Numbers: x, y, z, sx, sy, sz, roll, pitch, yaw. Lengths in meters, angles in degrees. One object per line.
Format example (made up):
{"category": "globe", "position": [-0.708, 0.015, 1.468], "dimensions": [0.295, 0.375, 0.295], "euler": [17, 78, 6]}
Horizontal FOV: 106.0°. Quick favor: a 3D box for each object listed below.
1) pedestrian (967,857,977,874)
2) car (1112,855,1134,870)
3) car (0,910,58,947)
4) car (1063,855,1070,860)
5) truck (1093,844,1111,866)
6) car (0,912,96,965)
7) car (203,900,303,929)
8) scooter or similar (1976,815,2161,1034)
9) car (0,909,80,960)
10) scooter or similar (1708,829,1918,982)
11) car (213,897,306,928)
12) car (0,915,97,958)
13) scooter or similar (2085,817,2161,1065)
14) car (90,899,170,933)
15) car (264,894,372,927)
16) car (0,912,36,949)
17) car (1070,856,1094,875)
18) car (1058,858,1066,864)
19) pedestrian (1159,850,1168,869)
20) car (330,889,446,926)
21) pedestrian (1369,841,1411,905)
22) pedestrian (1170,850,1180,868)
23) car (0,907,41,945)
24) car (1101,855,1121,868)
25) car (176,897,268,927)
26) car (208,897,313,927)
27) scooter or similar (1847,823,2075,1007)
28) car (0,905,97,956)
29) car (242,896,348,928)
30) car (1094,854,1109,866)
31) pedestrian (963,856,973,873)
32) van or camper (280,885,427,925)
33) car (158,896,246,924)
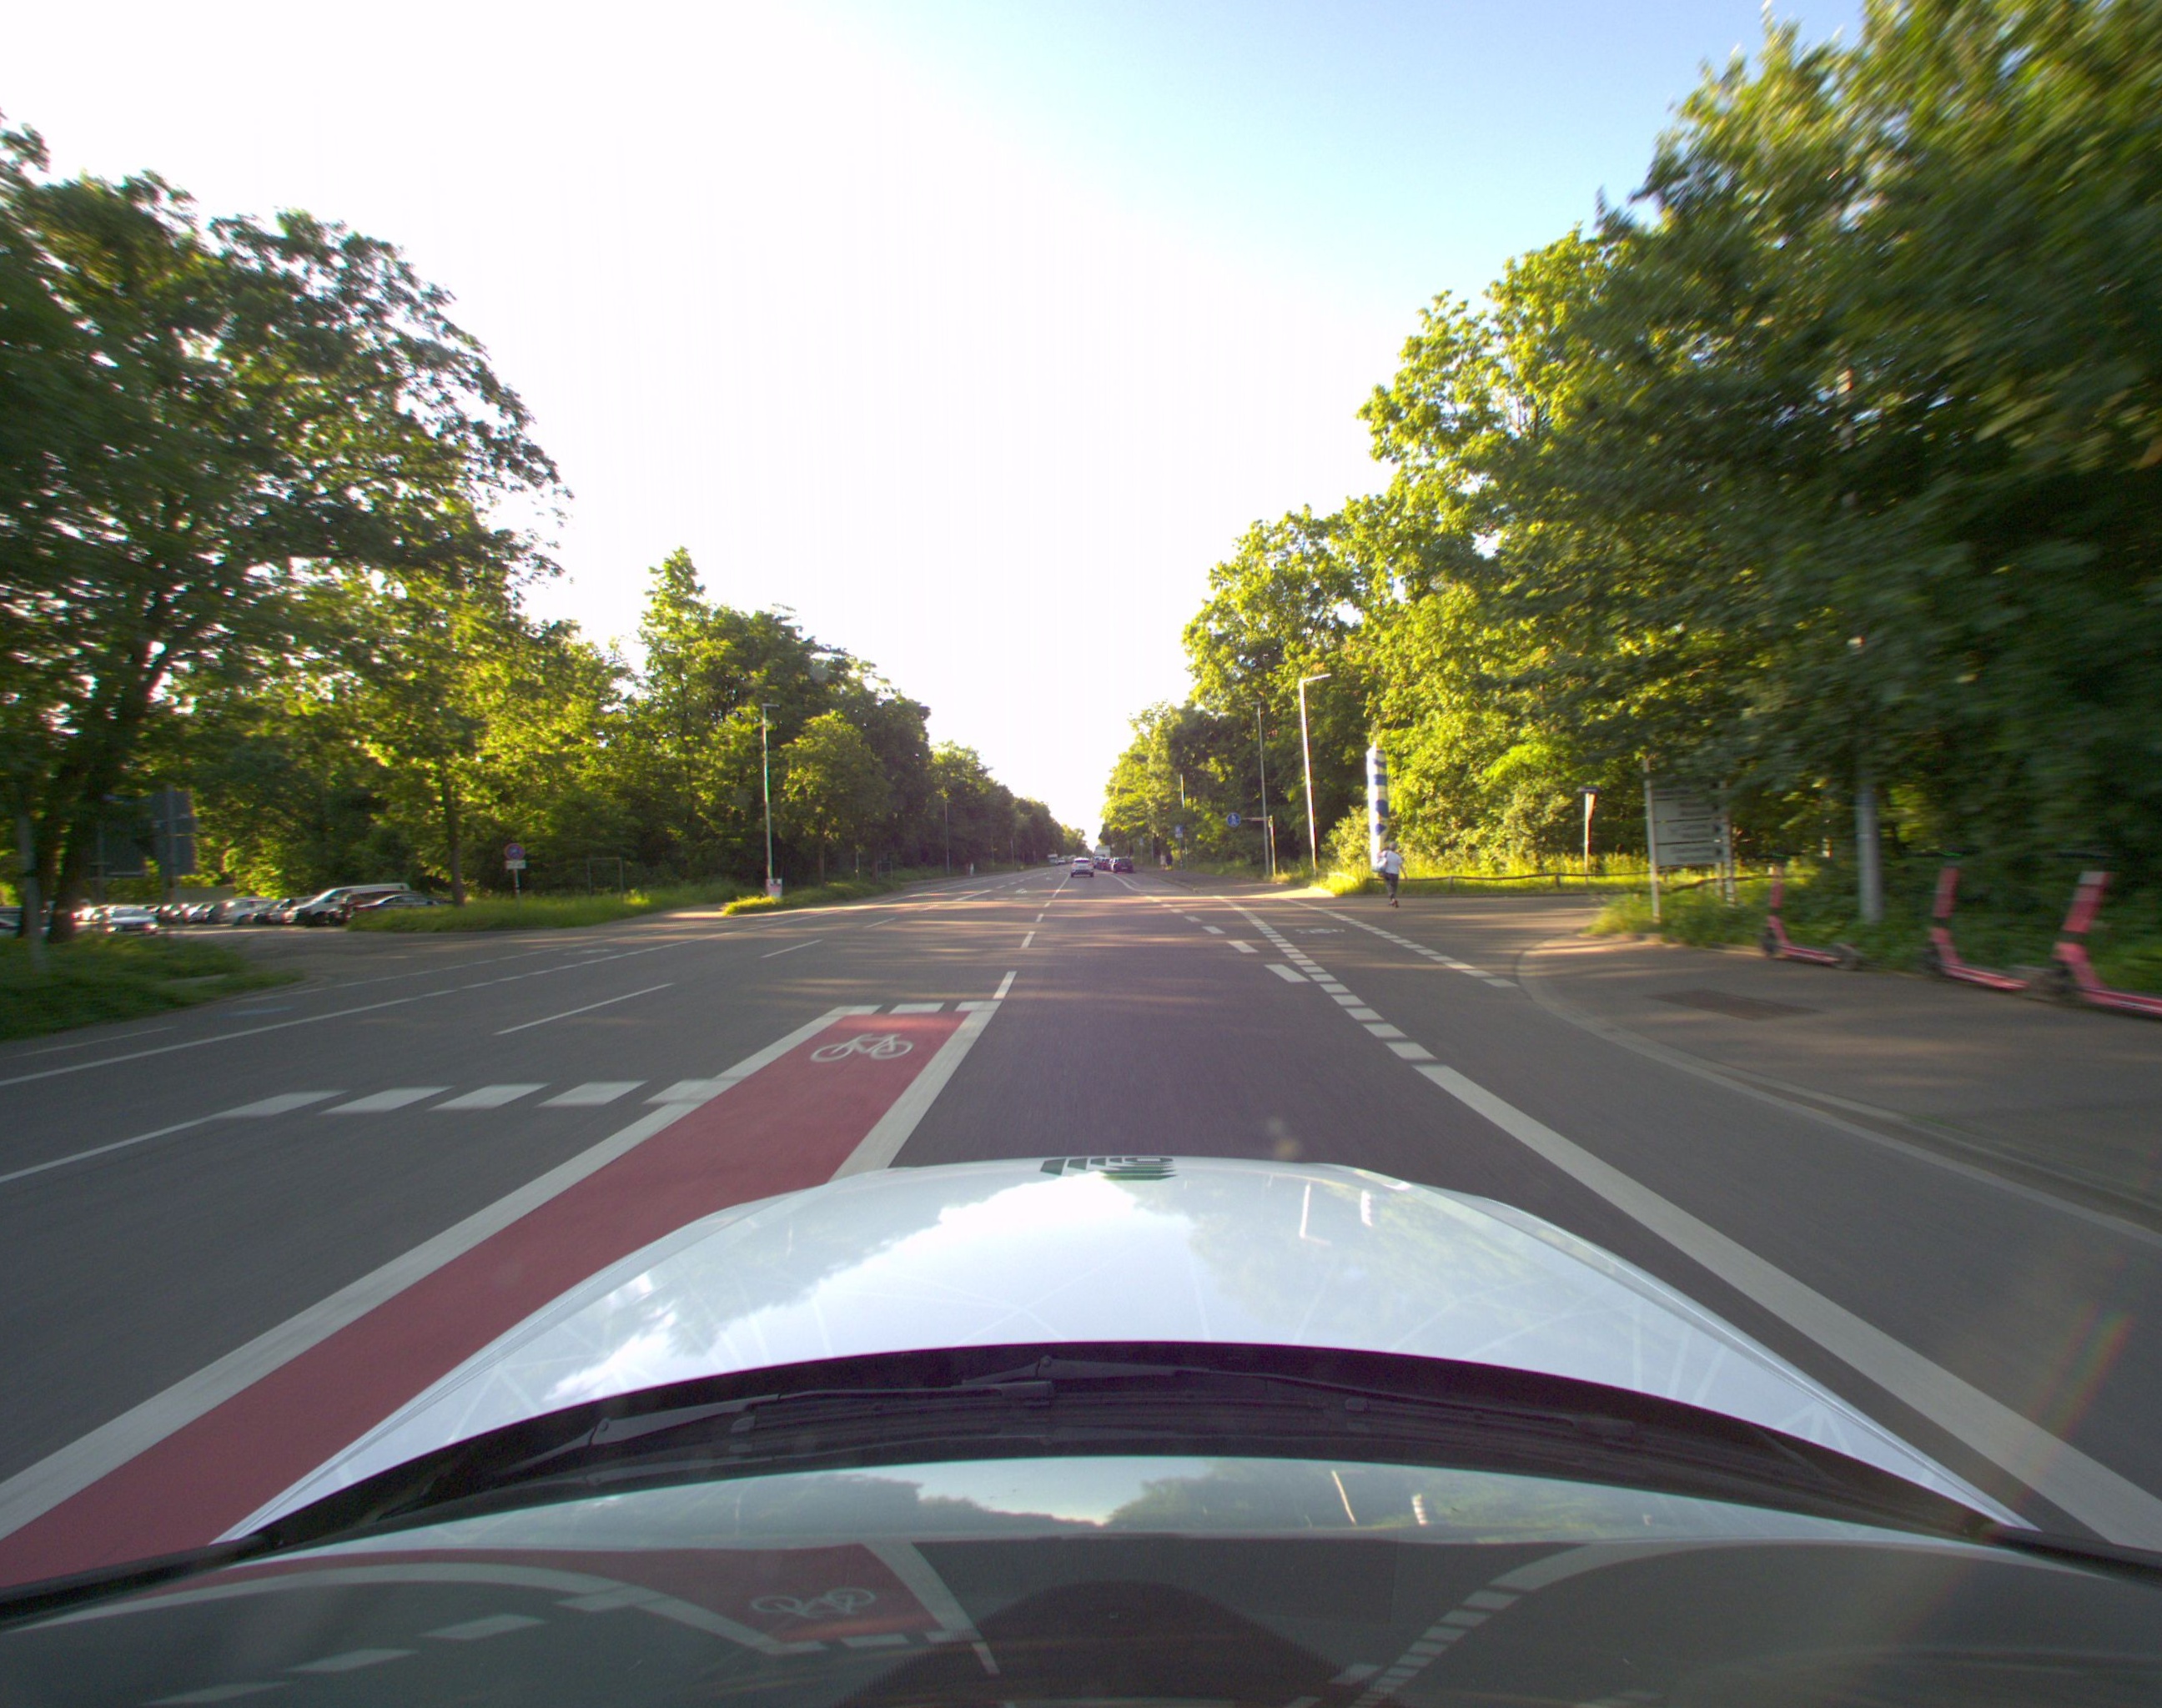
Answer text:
{"category": "pedestrian", "position": [-13.140, 1.429, 98.262], "dimensions": [0.827, 2.013, 1.270], "euler": [-3, 0, 3]}
{"category": "car", "position": [4.077, 0.816, 79.038], "dimensions": [1.986, 1.327, 4.001], "euler": [-3, 0, 1]}
{"category": "car", "position": [-42.212, 2.941, 30.649], "dimensions": [1.974, 1.314, 4.442], "euler": [-3, 0, 34]}
{"category": "car", "position": [-4.457, 0.980, 248.717], "dimensions": [1.987, 1.327, 3.999], "euler": [-3, 0, 0]}
{"category": "truck", "position": [3.562, 0.115, 138.543], "dimensions": [2.790, 3.570, 8.034], "euler": [-1, 0, 0]}
{"category": "car", "position": [-34.221, 2.715, 25.276], "dimensions": [1.974, 1.481, 4.442], "euler": [-3, 0, 34]}
{"category": "car", "position": [-51.682, 3.753, 50.905], "dimensions": [1.652, 1.466, 4.025], "euler": [-3, 0, 29]}
{"category": "scooter or similar", "position": [7.341, 0.447, 5.515], "dimensions": [0.679, 1.423, 1.682], "euler": [-3, 0, 2]}
{"category": "car", "position": [-36.509, 2.753, 26.701], "dimensions": [1.974, 1.544, 4.442], "euler": [-3, 0, 34]}
{"category": "scooter or similar", "position": [7.589, 0.487, 8.563], "dimensions": [0.679, 1.423, 1.682], "euler": [-3, 0, 2]}
{"category": "car", "position": [-55.575, 3.931, 55.183], "dimensions": [1.974, 1.739, 4.025], "euler": [-3, 0, 30]}
{"category": "car", "position": [-37.944, 2.967, 28.372], "dimensions": [1.974, 1.314, 4.442], "euler": [-3, 0, 34]}
{"category": "scooter or similar", "position": [6.658, 0.482, 4.217], "dimensions": [0.683, 1.423, 1.673], "euler": [-2, 0, -14]}
{"category": "car", "position": [-49.274, 3.194, 42.186], "dimensions": [4.441, 1.544, 2.013], "euler": [-3, 0, 32]}
{"category": "car", "position": [-42.334, 3.114, 45.255], "dimensions": [1.652, 1.466, 4.025], "euler": [-3, 0, 29]}
{"category": "car", "position": [-49.879, 3.541, 35.883], "dimensions": [1.974, 1.544, 4.529], "euler": [-3, 0, 34]}
{"category": "car", "position": [0.053, 0.915, 65.577], "dimensions": [1.757, 1.459, 3.815], "euler": [-1, 0, -2]}
{"category": "car", "position": [-5.228, 1.925, 225.564], "dimensions": [1.987, 1.327, 3.999], "euler": [-3, 0, 0]}
{"category": "pedestrian", "position": [7.434, 0.481, 73.471], "dimensions": [0.696, 1.653, 0.876], "euler": [-3, 0, 1]}
{"category": "car", "position": [-34.686, 2.650, 40.861], "dimensions": [1.974, 1.526, 4.026], "euler": [-3, 0, 35]}
{"category": "pedestrian", "position": [7.740, 0.465, 20.431], "dimensions": [0.751, 1.563, 0.804], "euler": [-2, 0, 6]}
{"category": "pedestrian", "position": [8.444, 0.441, 73.464], "dimensions": [0.741, 1.599, 0.798], "euler": [-3, 0, 1]}
{"category": "car", "position": [-52.651, 3.519, 38.241], "dimensions": [1.974, 1.703, 4.529], "euler": [-3, 0, 34]}
{"category": "car", "position": [3.487, 0.875, 94.757], "dimensions": [1.988, 1.327, 3.997], "euler": [-3, 0, -2]}
{"category": "car", "position": [-59.940, 4.007, 56.862], "dimensions": [1.974, 1.739, 4.025], "euler": [-3, 0, 30]}
{"category": "car", "position": [-48.113, 3.379, 47.842], "dimensions": [1.652, 1.466, 4.025], "euler": [-3, 0, 29]}
{"category": "scooter or similar", "position": [7.494, 0.481, 7.025], "dimensions": [0.678, 1.423, 1.249], "euler": [-3, 0, 10]}
{"category": "car", "position": [-39.721, 2.875, 29.837], "dimensions": [1.974, 1.689, 4.442], "euler": [-3, 0, 34]}
{"category": "car", "position": [-45.082, 3.317, 46.822], "dimensions": [1.652, 1.466, 4.025], "euler": [-3, 0, 29]}
{"category": "car", "position": [2.795, 0.812, 110.853], "dimensions": [1.986, 1.555, 4.001], "euler": [-3, 0, 1]}
{"category": "pedestrian", "position": [-13.584, 1.312, 98.274], "dimensions": [0.860, 2.013, 1.270], "euler": [-3, 0, 3]}
{"category": "van or camper", "position": [-38.689, 2.659, 43.483], "dimensions": [1.974, 2.014, 5.451], "euler": [-2, -3, 31]}
{"category": "car", "position": [-65.080, 4.110, 60.351], "dimensions": [1.974, 1.739, 4.025], "euler": [-3, 0, 30]}
